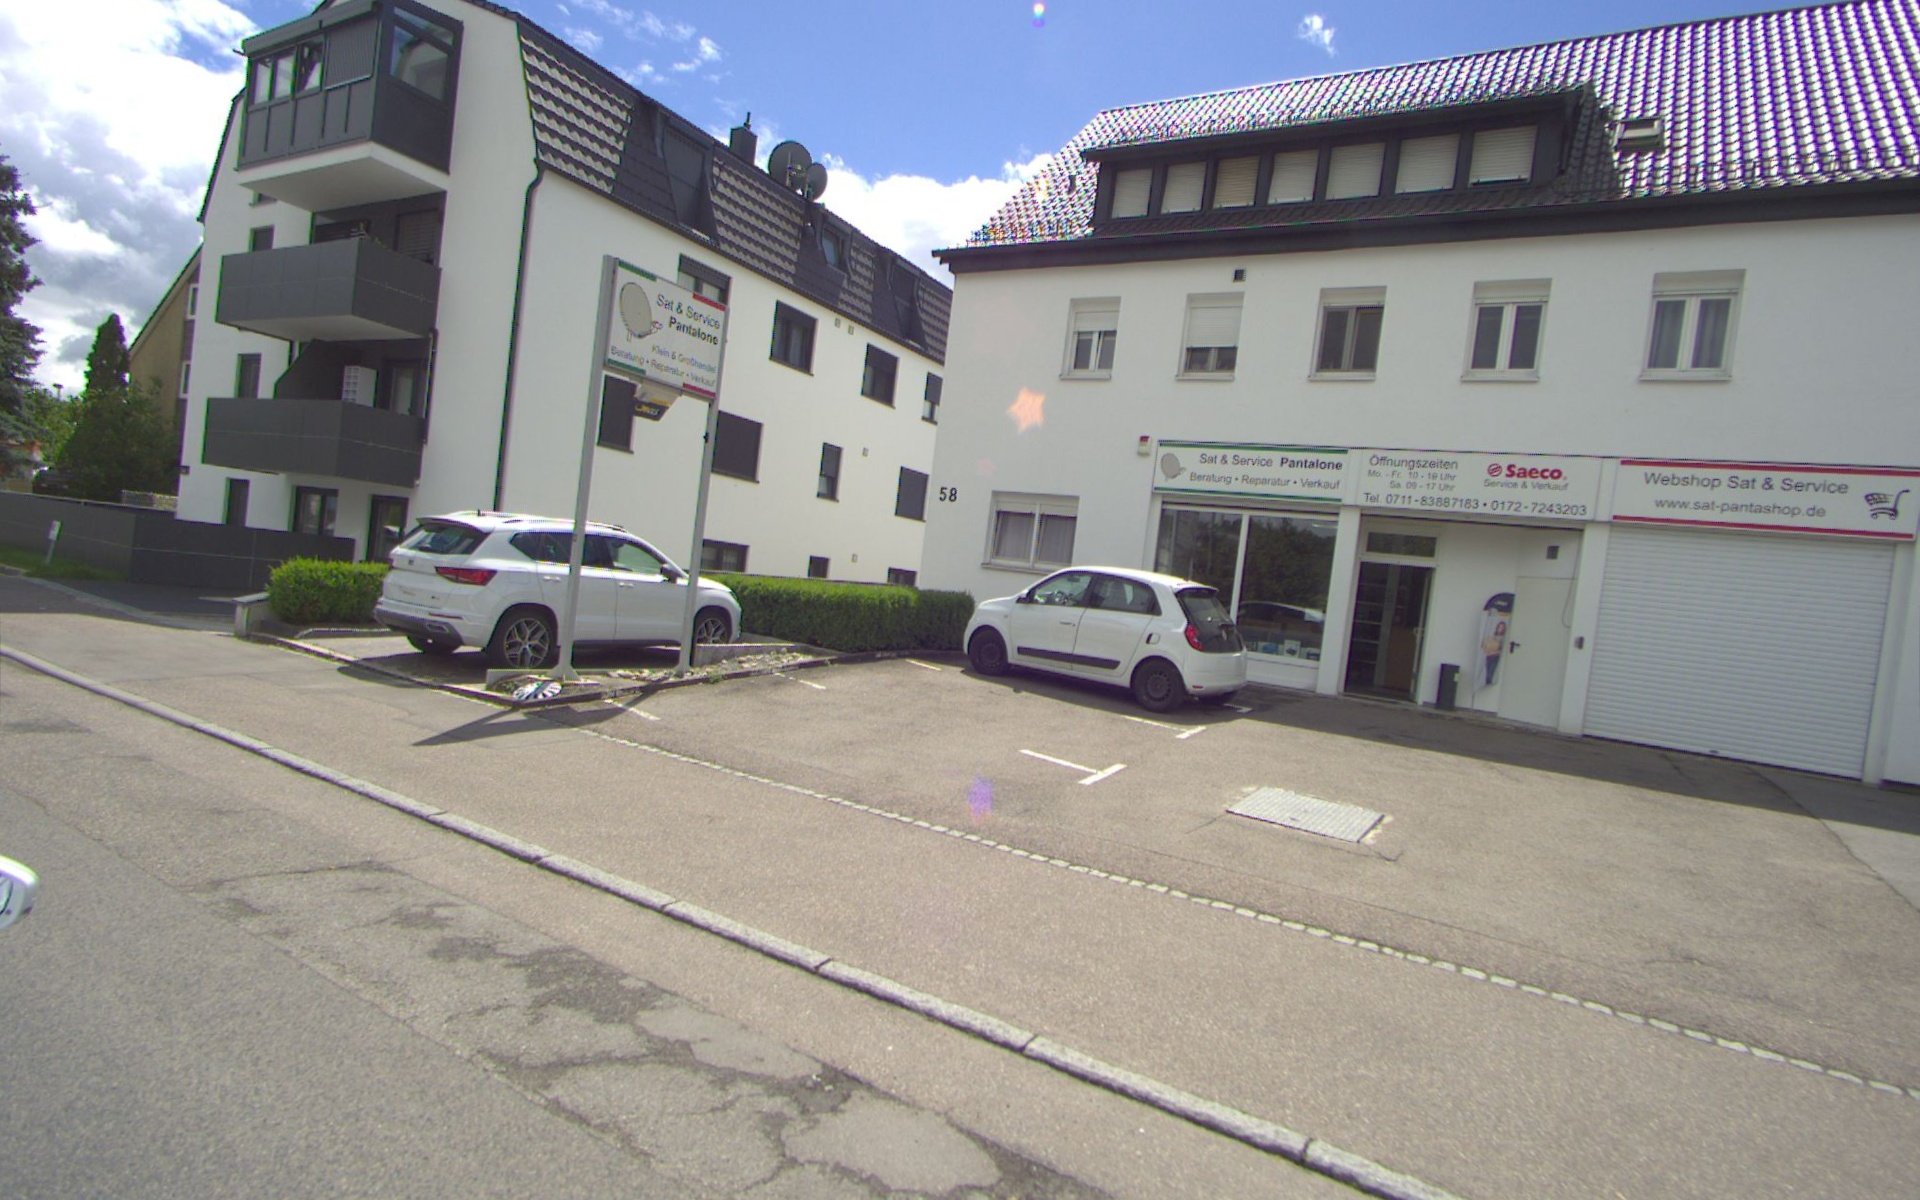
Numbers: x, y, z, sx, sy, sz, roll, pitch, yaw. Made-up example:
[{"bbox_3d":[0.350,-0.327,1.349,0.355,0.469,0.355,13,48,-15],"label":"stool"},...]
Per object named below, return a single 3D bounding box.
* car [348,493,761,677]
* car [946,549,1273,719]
[{"bbox_3d":[-4.512,-0.188,11.828,1.836,1.677,4.189,7,4,31],"label":"car"},{"bbox_3d":[1.773,0.325,12.563,3.610,1.540,1.627,9,5,40],"label":"car"}]
